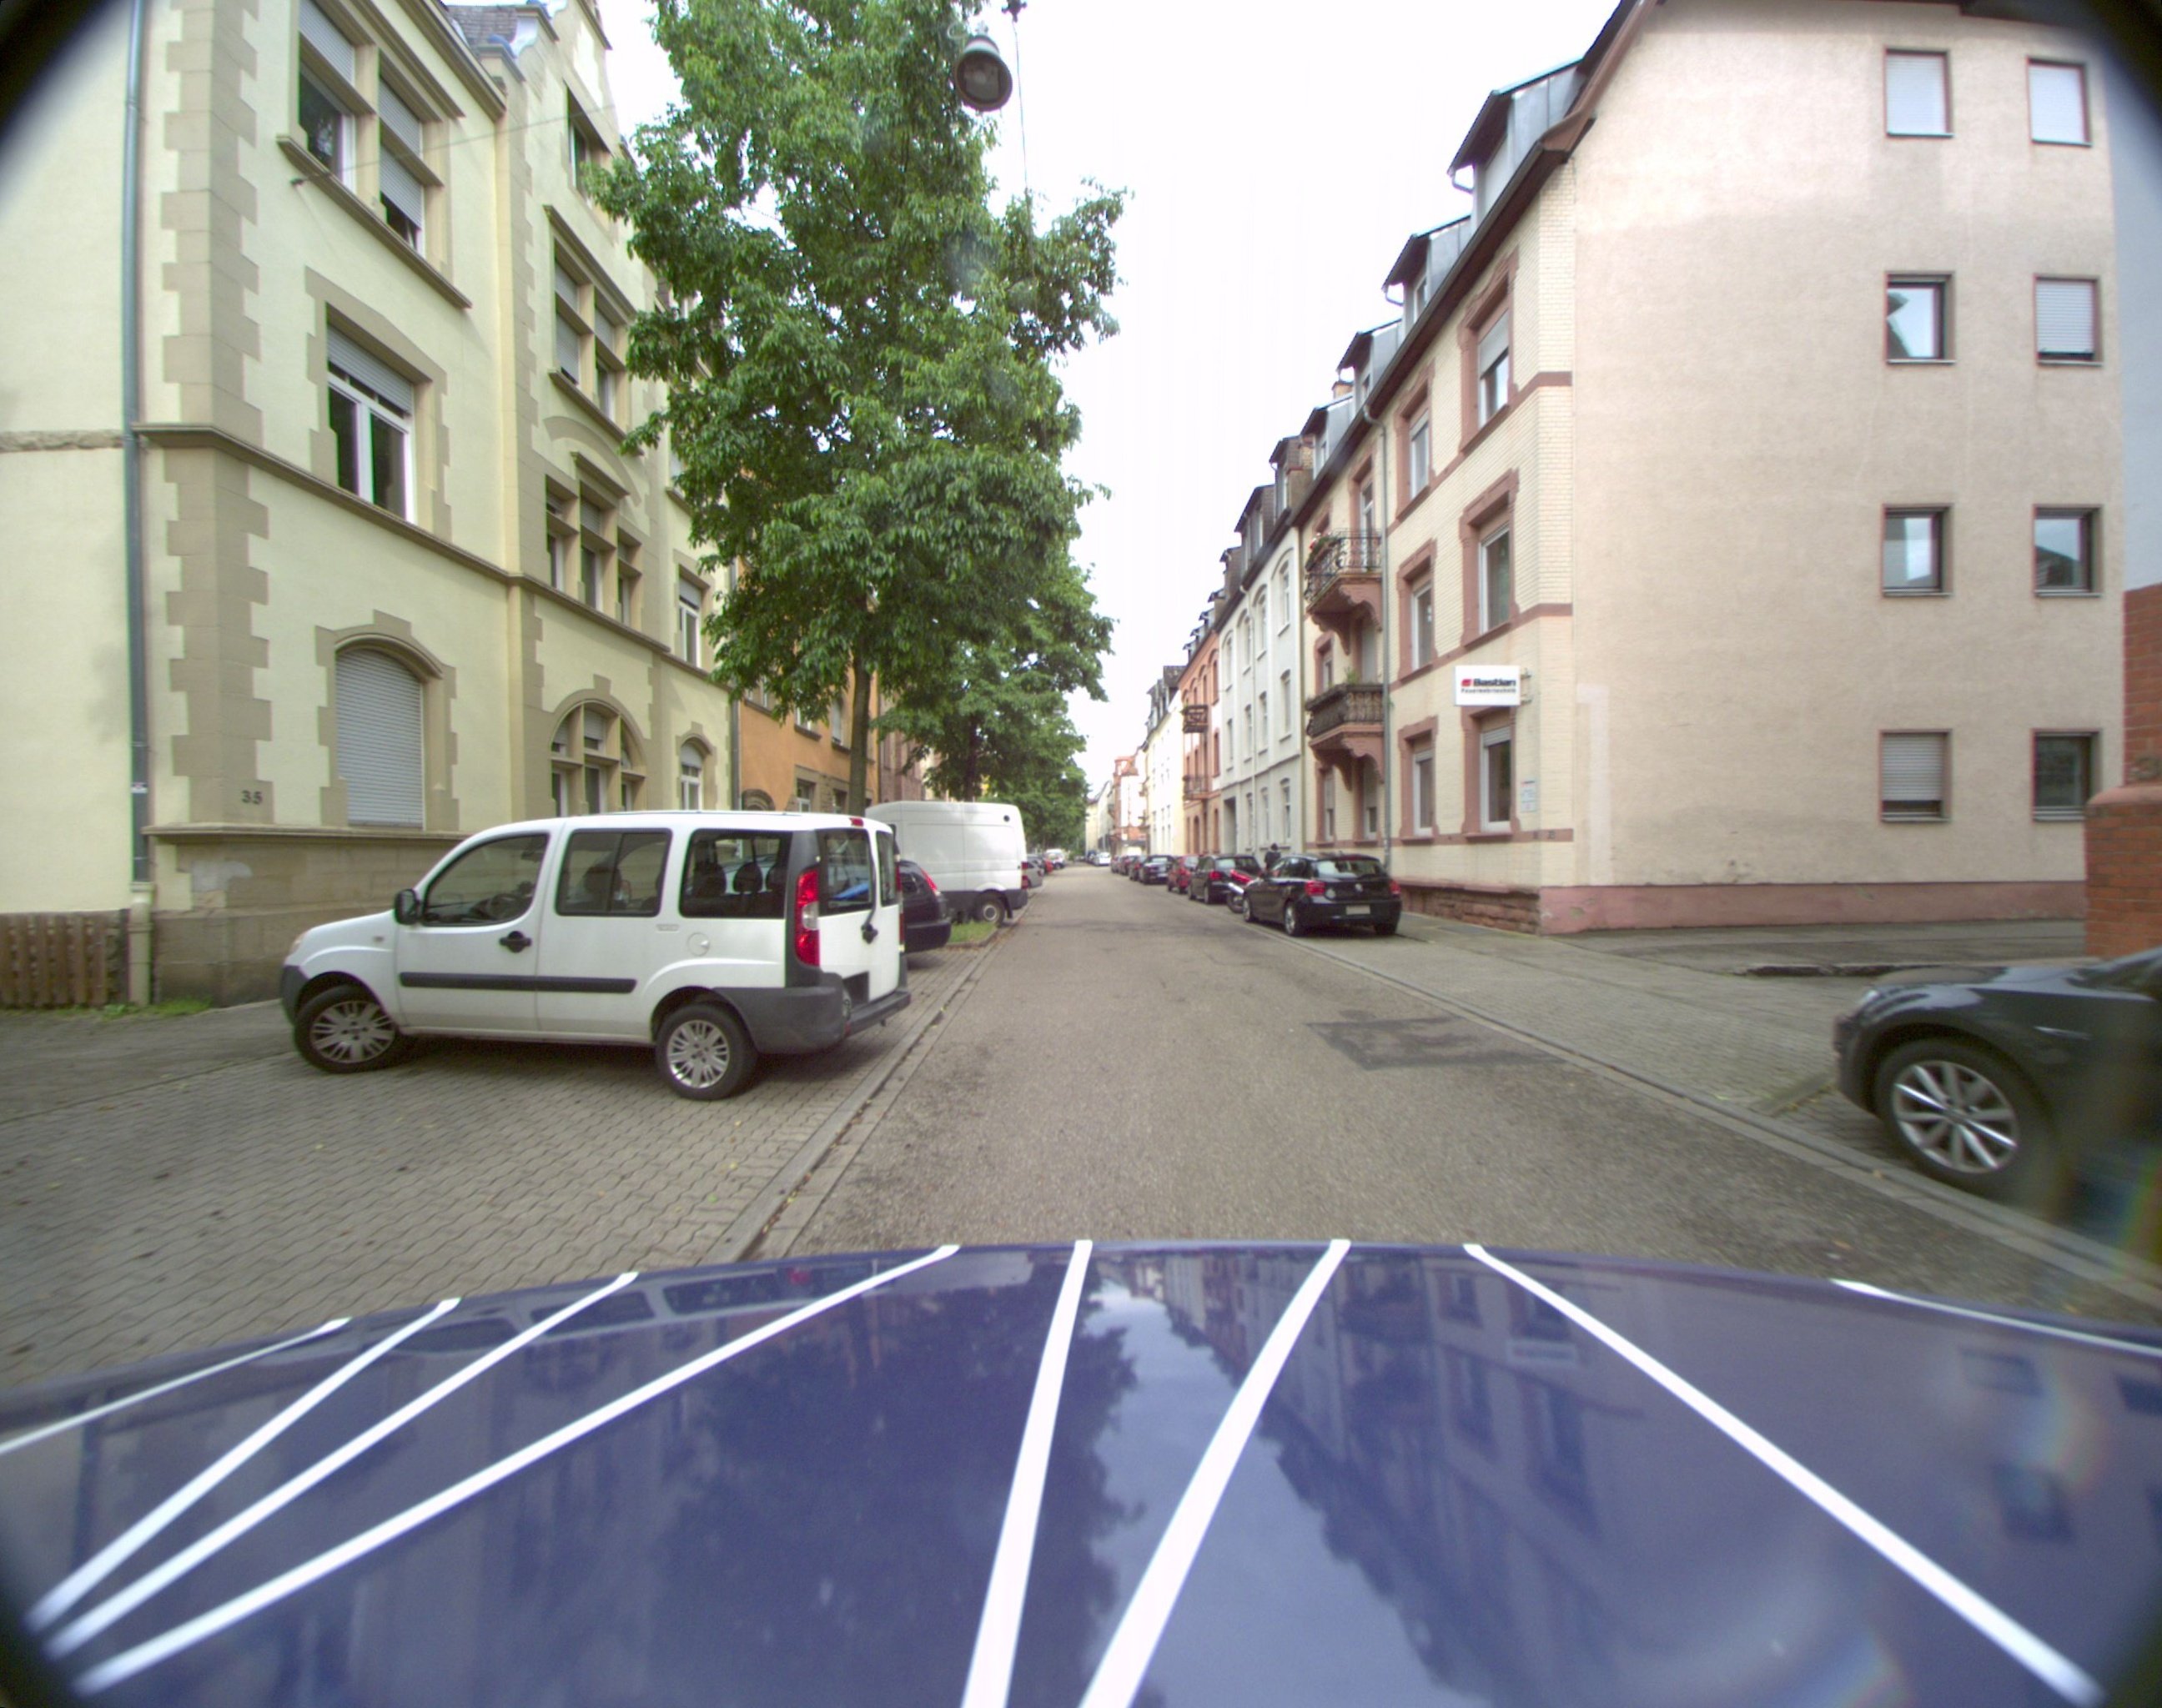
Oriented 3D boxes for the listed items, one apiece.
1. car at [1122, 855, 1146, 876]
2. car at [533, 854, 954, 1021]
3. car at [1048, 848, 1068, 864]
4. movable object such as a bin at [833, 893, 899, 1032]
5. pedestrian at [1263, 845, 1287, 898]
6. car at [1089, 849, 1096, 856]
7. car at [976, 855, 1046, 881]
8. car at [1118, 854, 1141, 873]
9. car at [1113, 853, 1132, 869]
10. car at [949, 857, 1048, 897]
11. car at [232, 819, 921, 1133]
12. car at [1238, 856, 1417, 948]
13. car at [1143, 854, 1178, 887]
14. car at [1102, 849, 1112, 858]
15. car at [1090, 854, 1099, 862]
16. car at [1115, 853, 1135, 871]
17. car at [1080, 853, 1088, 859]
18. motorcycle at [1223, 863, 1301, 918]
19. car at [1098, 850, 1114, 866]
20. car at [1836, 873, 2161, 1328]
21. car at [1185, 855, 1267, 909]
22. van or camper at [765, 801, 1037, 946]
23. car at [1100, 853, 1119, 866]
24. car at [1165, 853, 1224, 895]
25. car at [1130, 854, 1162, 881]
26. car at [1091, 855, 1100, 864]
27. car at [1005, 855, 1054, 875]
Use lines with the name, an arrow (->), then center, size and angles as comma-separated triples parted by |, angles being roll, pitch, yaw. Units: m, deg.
car -> 3.691, 0.800, 53.428 | 1.457, 1.401, 3.811 | -2, 0, 1
car -> -3.879, 0.807, 9.187 | 4.285, 1.608, 1.758 | 0, 0, -30
car -> -2.631, 0.224, 87.366 | 1.998, 1.739, 4.000 | -1, 0, 1
movable object such as a bin -> -2.090, 1.031, 7.423 | 0.455, 1.262, 0.601 | -1, 1, 0
pedestrian -> 5.977, 0.532, 23.413 | 0.577, 1.599, 0.544 | -1, 1, -1
car -> 2.404, -0.341, 158.015 | 1.457, 1.401, 3.810 | 2, 0, 0
car -> -4.421, 0.861, 47.983 | 4.151, 1.489, 1.837 | -1, 0, -14
car -> 3.719, 0.715, 58.553 | 1.457, 1.401, 3.811 | -2, 0, 1
car -> 3.725, 0.624, 67.991 | 1.457, 1.401, 3.811 | -2, 0, 1
car -> -3.311, 0.888, 30.682 | 3.612, 1.458, 1.626 | -1, 0, -32
car -> -3.383, 0.700, 5.485 | 3.994, 1.801, 1.721 | 0, 0, 8
car -> 4.256, 0.752, 13.821 | 1.905, 1.382, 4.000 | -1, 0, -1
car -> 3.800, 0.758, 36.653 | 1.457, 1.402, 3.041 | -2, 1, 2
car -> 4.018, -0.039, 119.078 | 1.457, 1.401, 3.811 | -2, 0, 1
car -> 2.445, 0.760, 139.718 | 1.457, 1.401, 3.811 | -2, 0, 1
car -> 3.640, 0.675, 62.980 | 1.457, 1.401, 3.811 | -2, 0, 1
car -> 0.735, 0.539, 195.389 | 1.458, 1.401, 3.807 | 0, 0, -10
motorcycle -> 4.197, 0.843, 17.644 | 1.710, 1.218, 0.487 | -1, 1, 17
car -> 3.331, 0.536, 102.229 | 2.052, 2.071, 3.811 | -2, 0, 0
car -> 4.244, 0.812, 1.544 | 1.469, 1.408, 3.918 | -2, 0, -1
car -> 4.146, 0.763, 22.165 | 1.660, 1.375, 3.471 | -2, 0, -1
van or camper -> -3.641, 0.343, 15.698 | 5.078, 2.576, 2.069 | 0, 0, -31
car -> 3.382, 0.699, 90.986 | 2.082, 1.446, 4.253 | -2, 0, 0
car -> 4.172, 0.694, 28.341 | 1.610, 1.463, 3.342 | -1, 0, -1
car -> 3.635, 0.715, 43.078 | 1.457, 1.401, 3.811 | -2, 0, 1
car -> 2.389, 0.892, 130.189 | 1.457, 1.401, 3.811 | -2, 0, 1
car -> -4.086, 0.840, 60.228 | 3.608, 1.458, 1.628 | -1, 0, -14
